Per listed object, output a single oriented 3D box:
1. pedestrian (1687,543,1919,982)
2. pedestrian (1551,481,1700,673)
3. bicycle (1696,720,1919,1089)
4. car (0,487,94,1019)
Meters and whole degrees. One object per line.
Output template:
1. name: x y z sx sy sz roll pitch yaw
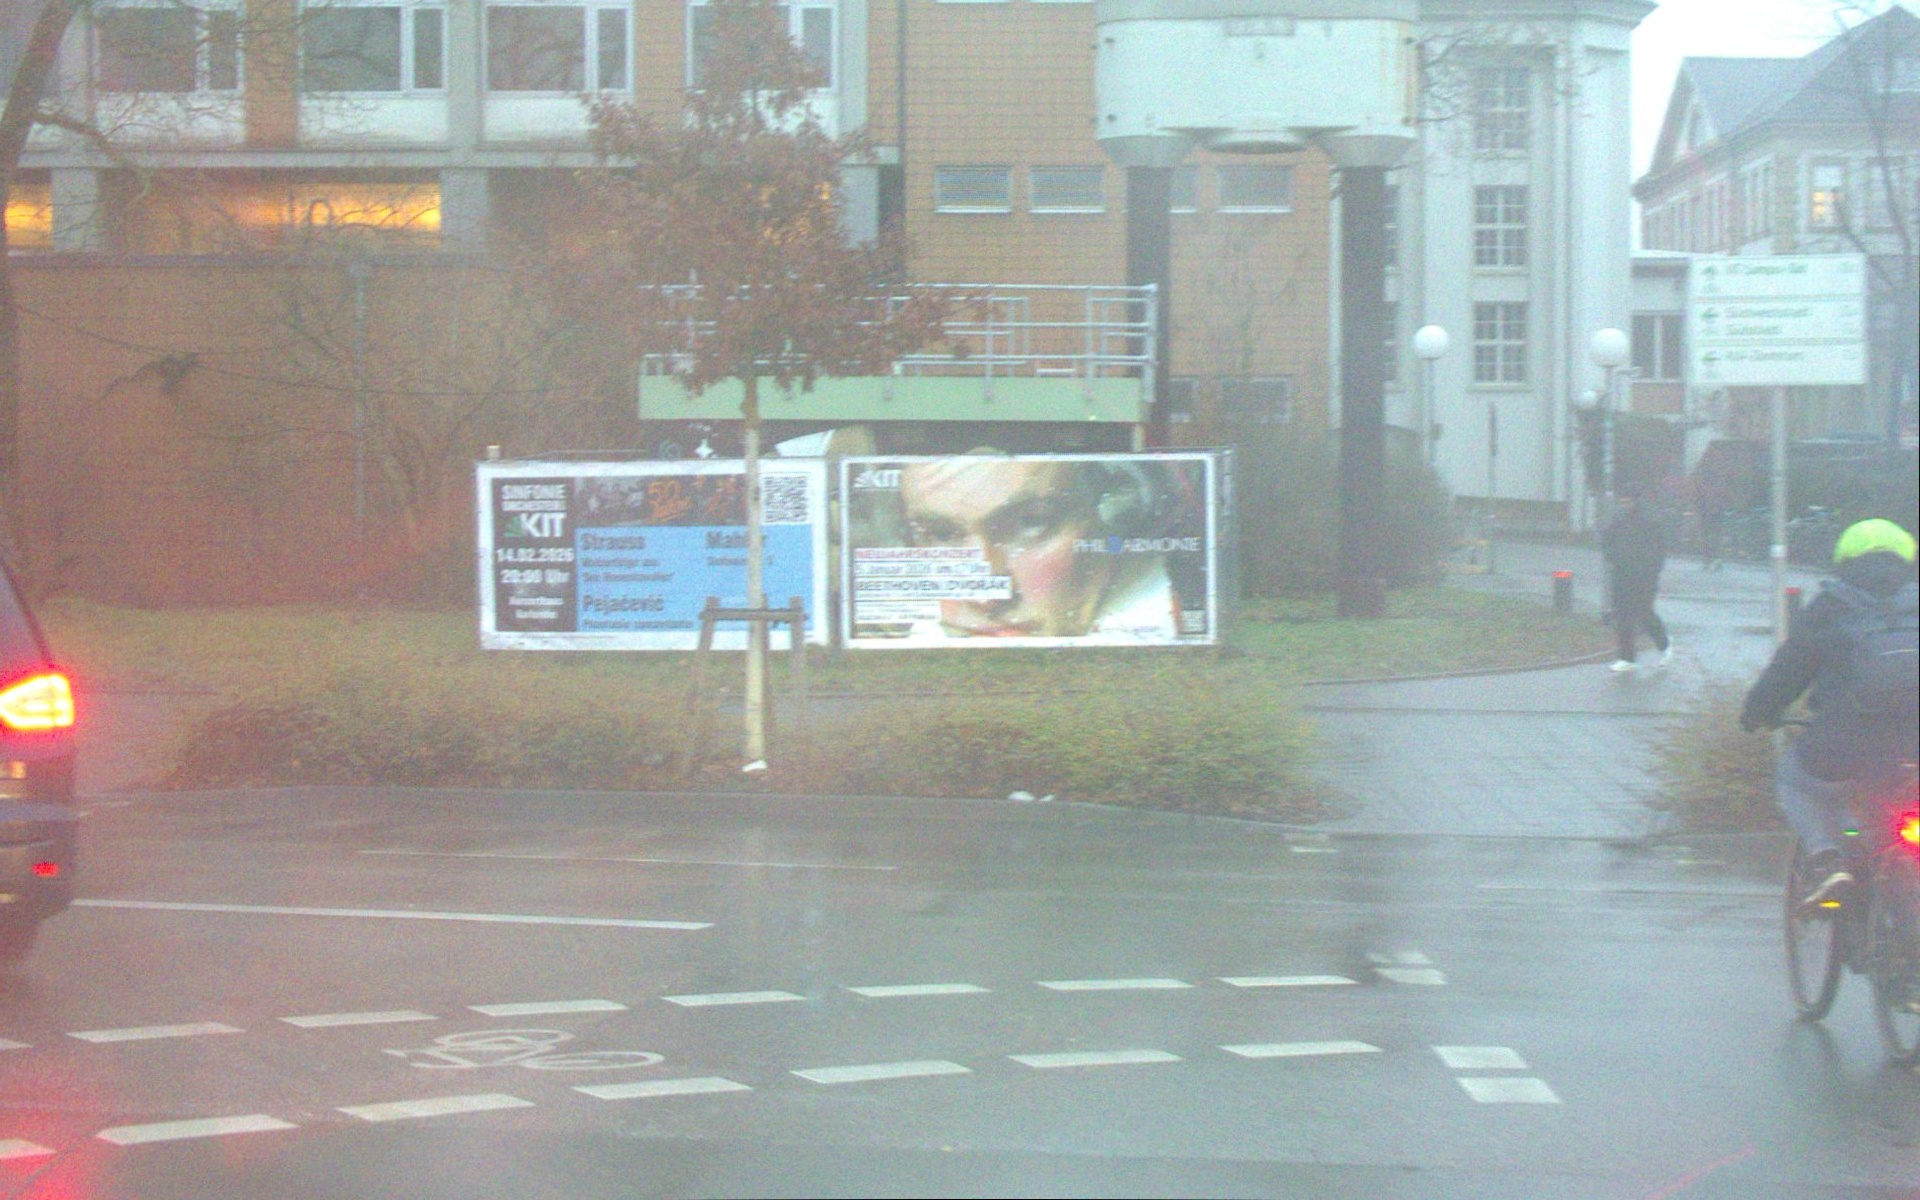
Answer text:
1. pedestrian: 2.813 0.489 10.869 0.874 1.312 0.848 -1 2 2
2. pedestrian: 6.043 -0.220 31.244 0.924 1.681 0.913 0 4 -23
3. bicycle: 2.845 0.929 11.111 0.561 0.943 2.095 0 2 2
4. car: -4.895 0.461 13.140 1.778 1.794 4.424 0 1 -32
